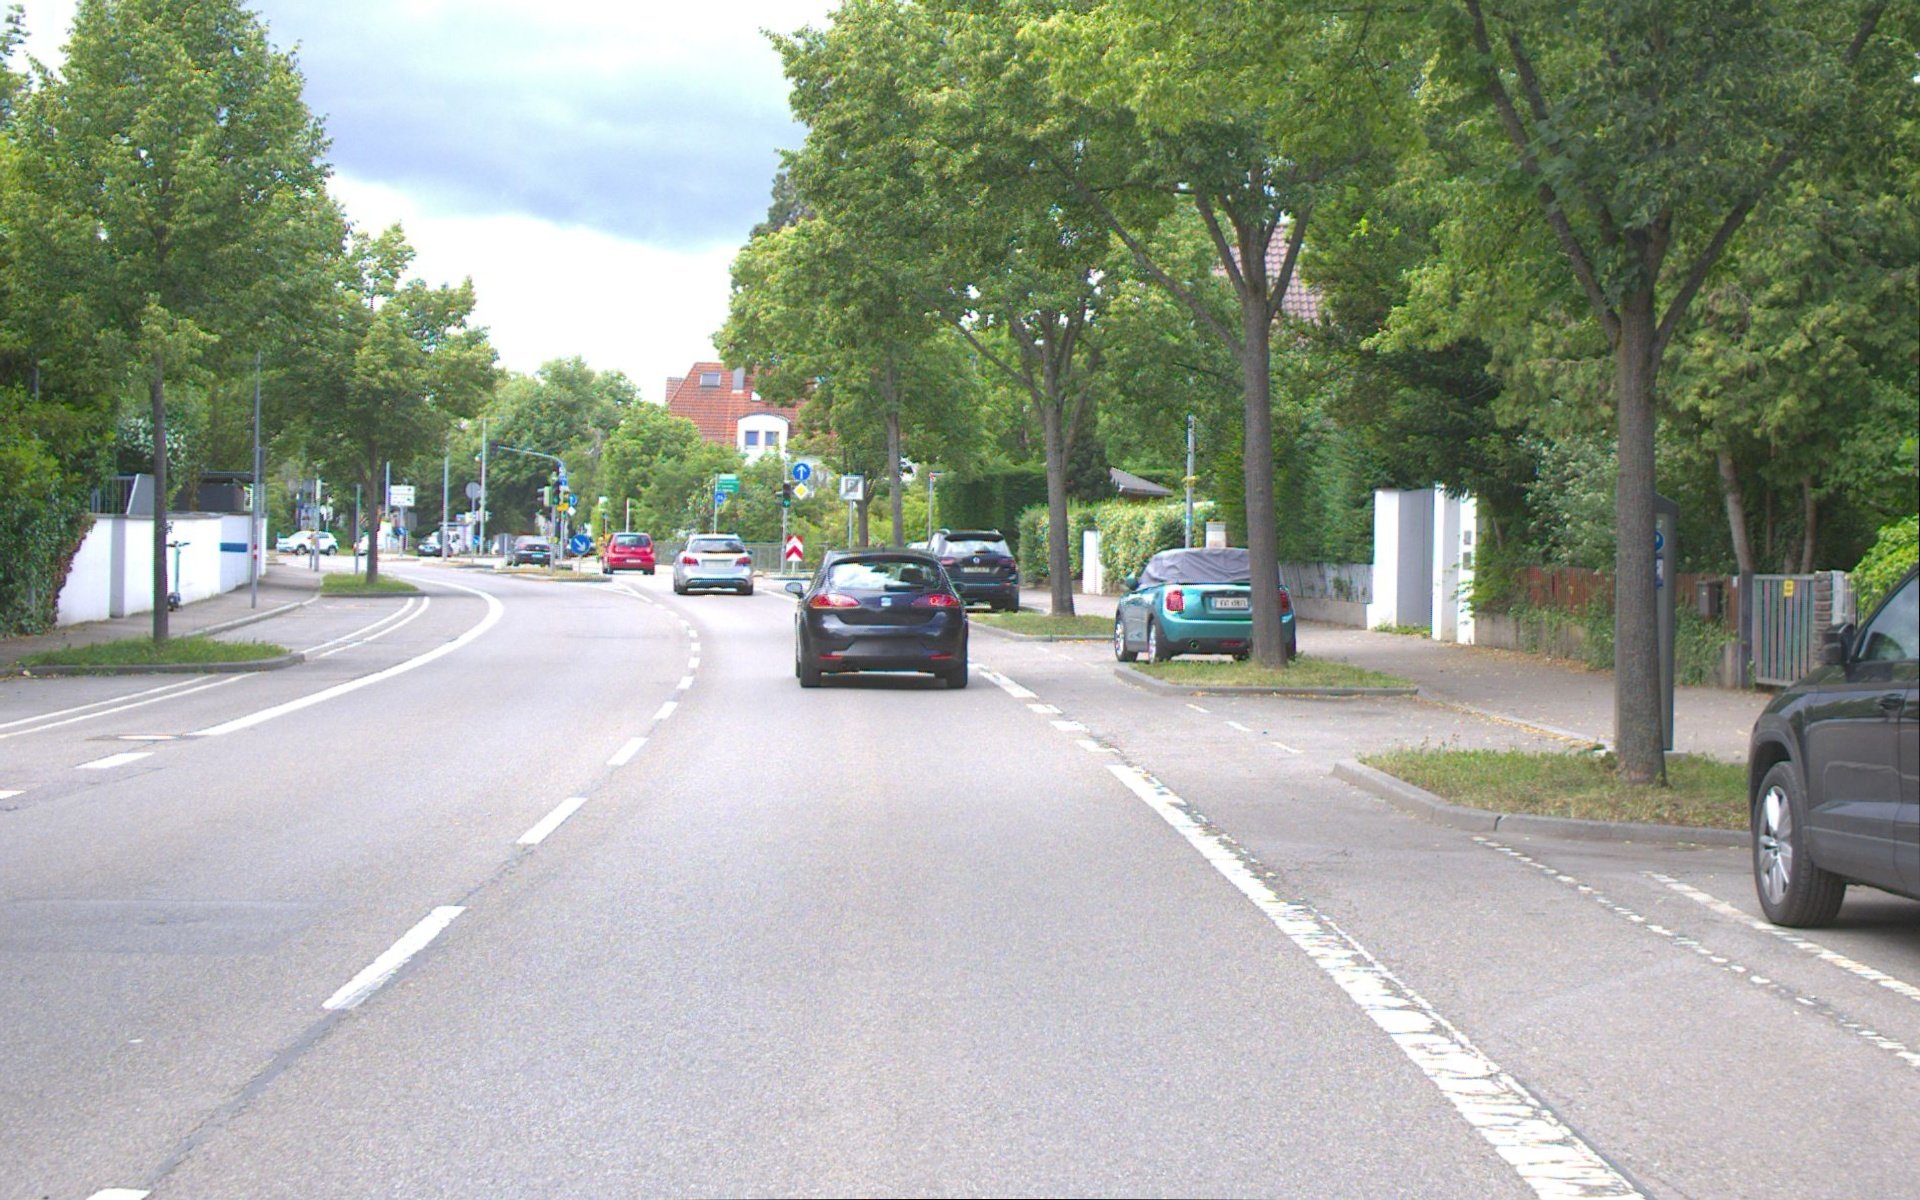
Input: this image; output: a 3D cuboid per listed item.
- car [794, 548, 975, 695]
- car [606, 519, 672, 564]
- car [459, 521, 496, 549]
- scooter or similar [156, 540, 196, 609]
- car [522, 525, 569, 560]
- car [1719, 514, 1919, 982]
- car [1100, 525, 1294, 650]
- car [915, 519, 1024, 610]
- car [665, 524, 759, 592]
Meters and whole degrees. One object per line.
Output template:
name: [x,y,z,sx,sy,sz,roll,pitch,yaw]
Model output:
car: [-0.836,0.191,36.007,1.783,1.444,3.558,1,1,-3]
car: [-11.174,-2.049,119.502,1.993,1.525,4.001,0,1,-9]
car: [-30.010,-4.048,213.749,1.973,1.670,3.878,1,1,-4]
scooter or similar: [-13.321,-0.440,58.417,0.501,1.150,1.301,1,1,-6]
car: [-18.657,-2.588,154.835,1.993,1.503,4.001,1,0,-6]
car: [4.111,0.514,12.309,1.638,1.610,4.170,1,1,-3]
car: [2.832,-0.188,41.828,1.683,1.427,4.045,0,1,-6]
car: [0.157,-0.730,69.405,1.788,1.765,3.983,1,1,-6]
car: [-6.100,-1.049,84.230,1.993,1.552,4.001,-1,2,-9]
